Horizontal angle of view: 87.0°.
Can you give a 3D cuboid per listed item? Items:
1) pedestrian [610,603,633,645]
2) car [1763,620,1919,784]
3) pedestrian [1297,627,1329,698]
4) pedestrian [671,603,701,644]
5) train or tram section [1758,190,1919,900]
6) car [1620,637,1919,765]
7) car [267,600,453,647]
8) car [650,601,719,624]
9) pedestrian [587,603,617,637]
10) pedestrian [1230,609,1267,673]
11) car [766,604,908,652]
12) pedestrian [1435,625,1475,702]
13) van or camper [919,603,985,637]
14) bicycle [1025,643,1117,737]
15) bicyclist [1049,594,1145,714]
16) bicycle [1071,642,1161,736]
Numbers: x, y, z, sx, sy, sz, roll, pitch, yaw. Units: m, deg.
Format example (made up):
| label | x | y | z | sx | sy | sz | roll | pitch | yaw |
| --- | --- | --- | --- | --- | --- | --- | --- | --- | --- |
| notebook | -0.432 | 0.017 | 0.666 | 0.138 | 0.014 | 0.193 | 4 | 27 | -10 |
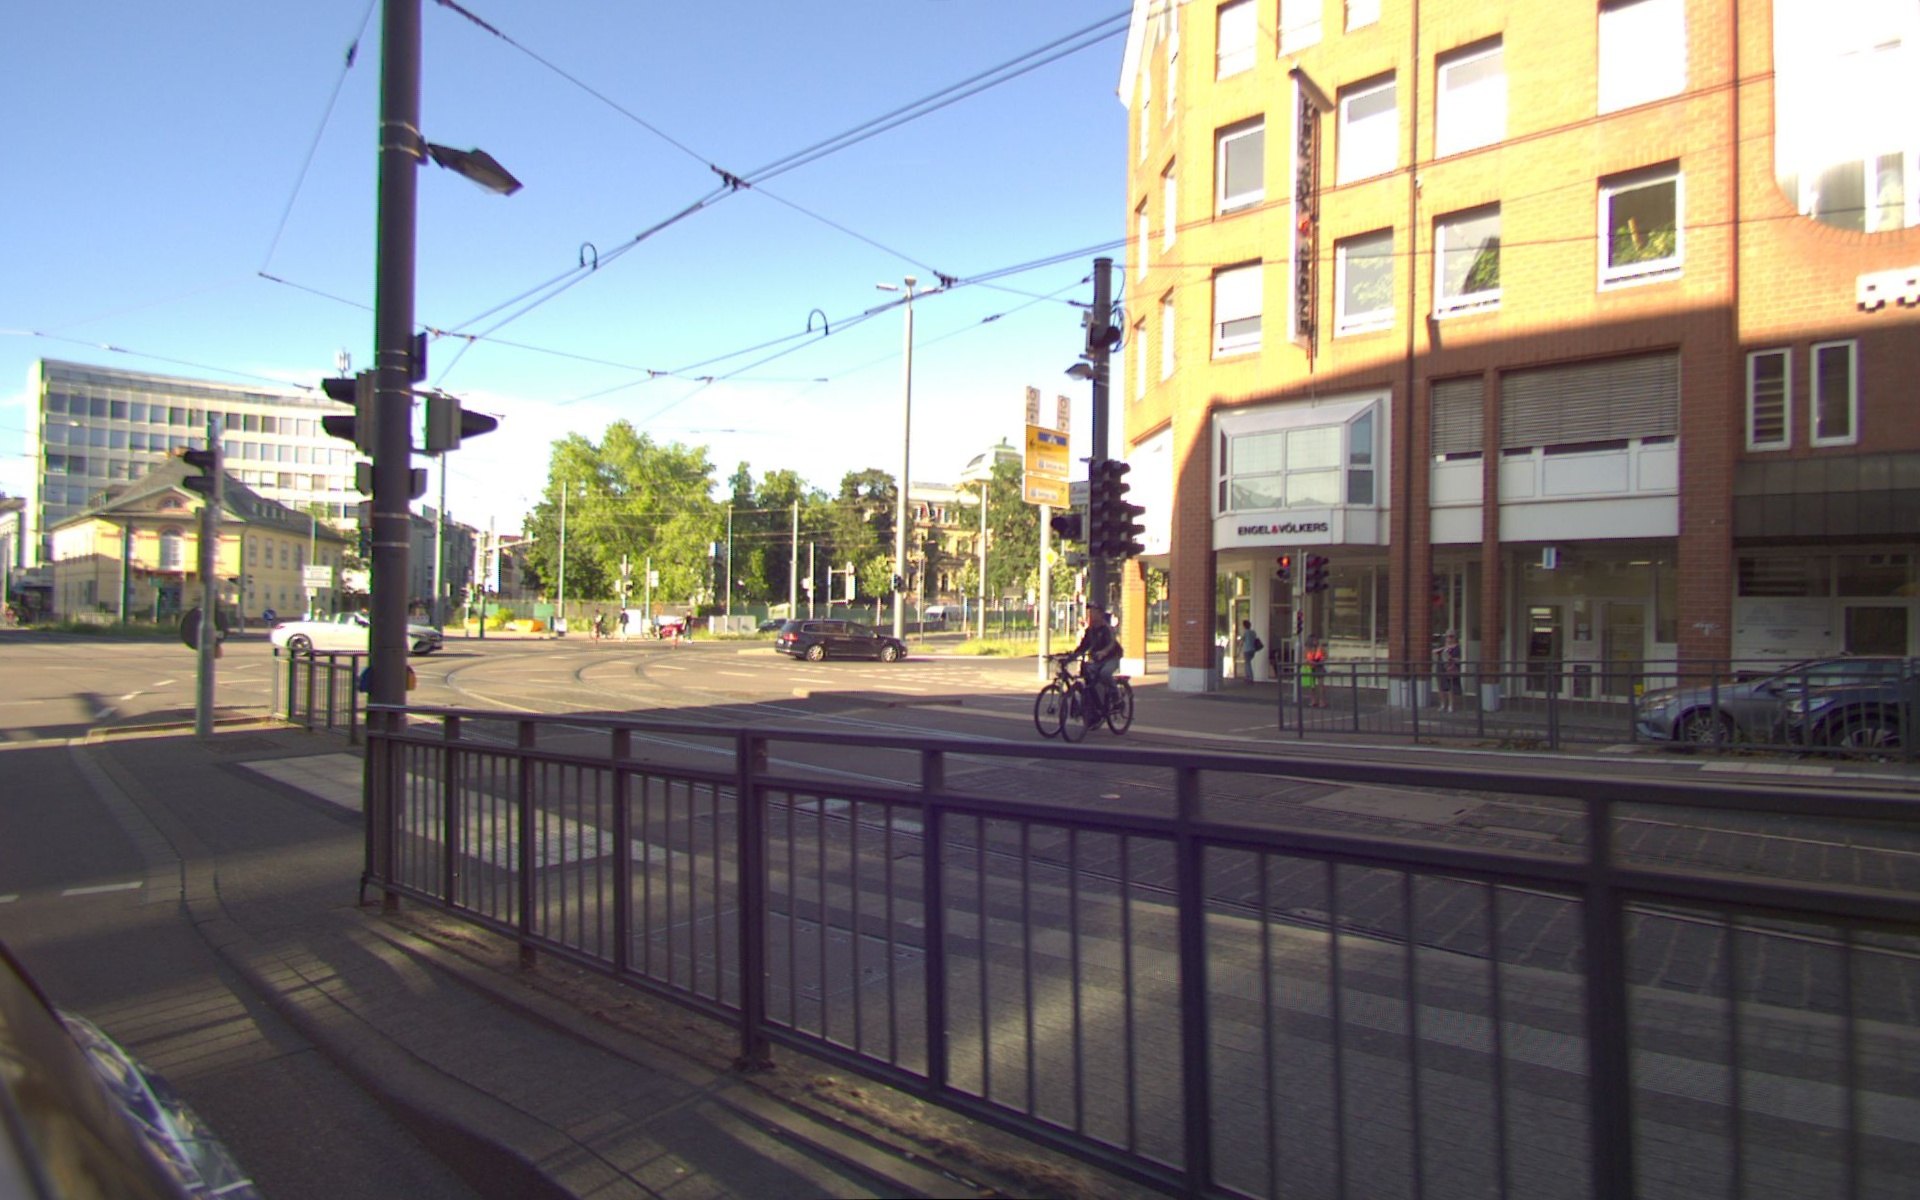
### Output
| label | x | y | z | sx | sy | sz | roll | pitch | yaw |
| --- | --- | --- | --- | --- | --- | --- | --- | --- | --- |
| pedestrian | -17.069 | 1.212 | 51.049 | 1.092 | 2.029 | 1.217 | -1 | 1 | -18 |
| car | 10.504 | 1.001 | 9.881 | 4.111 | 1.563 | 1.895 | 0 | -1 | 41 |
| pedestrian | 7.337 | 1.279 | 21.064 | 0.580 | 1.428 | 0.607 | 1 | 0 | 17 |
| pedestrian | -14.029 | 1.171 | 51.903 | 1.422 | 2.029 | 1.182 | -1 | 1 | -12 |
| train or tram section | 10.638 | -0.245 | 2.123 | 13.940 | 3.672 | 2.942 | 1 | 1 | 42 |
| car | 11.214 | 1.263 | 13.232 | 4.111 | 1.406 | 1.894 | 1 | -2 | 41 |
| car | -18.681 | 0.716 | 31.665 | 4.623 | 1.369 | 2.001 | 1 | 0 | -3 |
| car | -17.784 | 0.795 | 65.484 | 1.926 | 1.369 | 4.077 | 1 | 0 | 34 |
| pedestrian | -22.522 | 1.238 | 63.720 | 1.507 | 2.029 | 1.666 | -1 | 1 | -29 |
| pedestrian | 7.428 | 1.048 | 26.021 | 0.671 | 1.602 | 0.817 | 0 | 0 | 35 |
| car | -4.266 | 0.959 | 35.105 | 4.456 | 1.548 | 2.007 | 1 | 0 | -26 |
| pedestrian | 9.503 | 1.208 | 19.420 | 0.580 | 1.428 | 0.514 | 0 | -1 | 39 |
| van or camper | -0.465 | 1.243 | 63.765 | 2.000 | 2.029 | 3.943 | 0 | -1 | 43 |
| bicycle | 1.405 | 1.085 | 12.599 | 0.417 | 1.041 | 1.573 | 0 | 0 | 35 |
| bicyclist | 1.665 | 0.625 | 12.280 | 0.900 | 1.391 | 0.741 | 0 | 0 | 36 |
| bicycle | 1.926 | 1.049 | 12.339 | 0.417 | 1.029 | 1.573 | 0 | 0 | 35 |
